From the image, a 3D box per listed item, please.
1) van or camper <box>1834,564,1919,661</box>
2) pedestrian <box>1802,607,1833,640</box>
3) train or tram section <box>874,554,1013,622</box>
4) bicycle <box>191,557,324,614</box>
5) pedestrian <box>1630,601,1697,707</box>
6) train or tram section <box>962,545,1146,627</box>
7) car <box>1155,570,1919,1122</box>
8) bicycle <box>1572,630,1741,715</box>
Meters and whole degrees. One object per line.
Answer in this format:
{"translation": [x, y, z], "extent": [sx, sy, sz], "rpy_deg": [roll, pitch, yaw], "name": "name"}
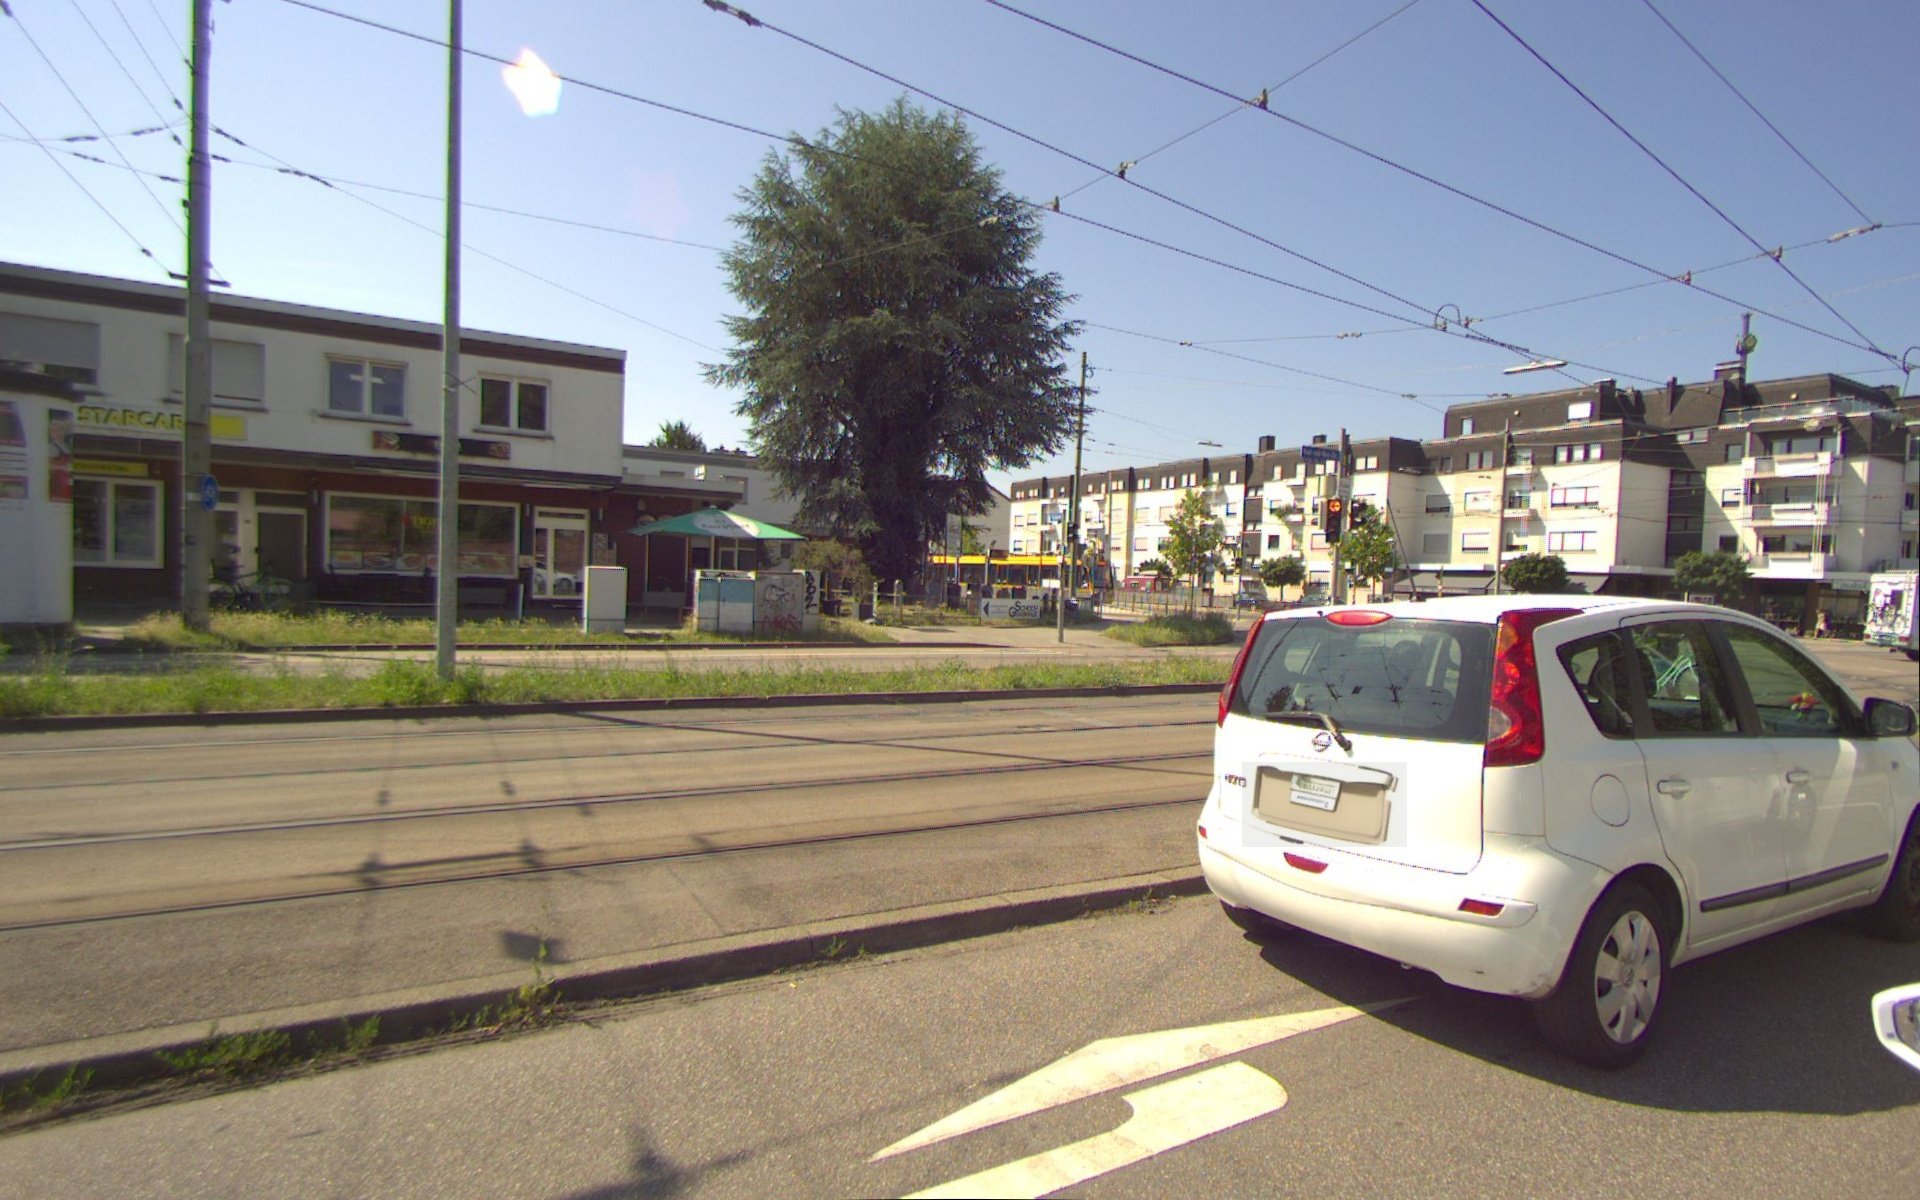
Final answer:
{"translation": [33.245, 0.488, 33.465], "extent": [5.587, 3.133, 2.577], "rpy_deg": [2, -1, 15], "name": "van or camper"}
{"translation": [47.531, 1.299, 55.680], "extent": [0.955, 1.766, 0.865], "rpy_deg": [2, -1, 13], "name": "pedestrian"}
{"translation": [-1.827, -0.933, 87.052], "extent": [4.681, 5.217, 16.122], "rpy_deg": [2, -1, -30], "name": "train or tram section"}
{"translation": [-15.515, -0.292, 22.269], "extent": [2.306, 1.167, 0.783], "rpy_deg": [2, -1, -30], "name": "bicycle"}
{"translation": [10.977, 0.826, 15.671], "extent": [0.671, 1.592, 0.738], "rpy_deg": [1, 0, -45], "name": "pedestrian"}
{"translation": [6.311, -0.901, 73.178], "extent": [4.681, 5.217, 16.122], "rpy_deg": [2, -1, -30], "name": "train or tram section"}
{"translation": [2.863, 0.716, 4.558], "extent": [3.759, 1.587, 1.634], "rpy_deg": [0, 0, -31], "name": "car"}
{"translation": [10.577, 1.060, 15.312], "extent": [0.705, 1.105, 1.999], "rpy_deg": [1, 1, -44], "name": "bicycle"}
